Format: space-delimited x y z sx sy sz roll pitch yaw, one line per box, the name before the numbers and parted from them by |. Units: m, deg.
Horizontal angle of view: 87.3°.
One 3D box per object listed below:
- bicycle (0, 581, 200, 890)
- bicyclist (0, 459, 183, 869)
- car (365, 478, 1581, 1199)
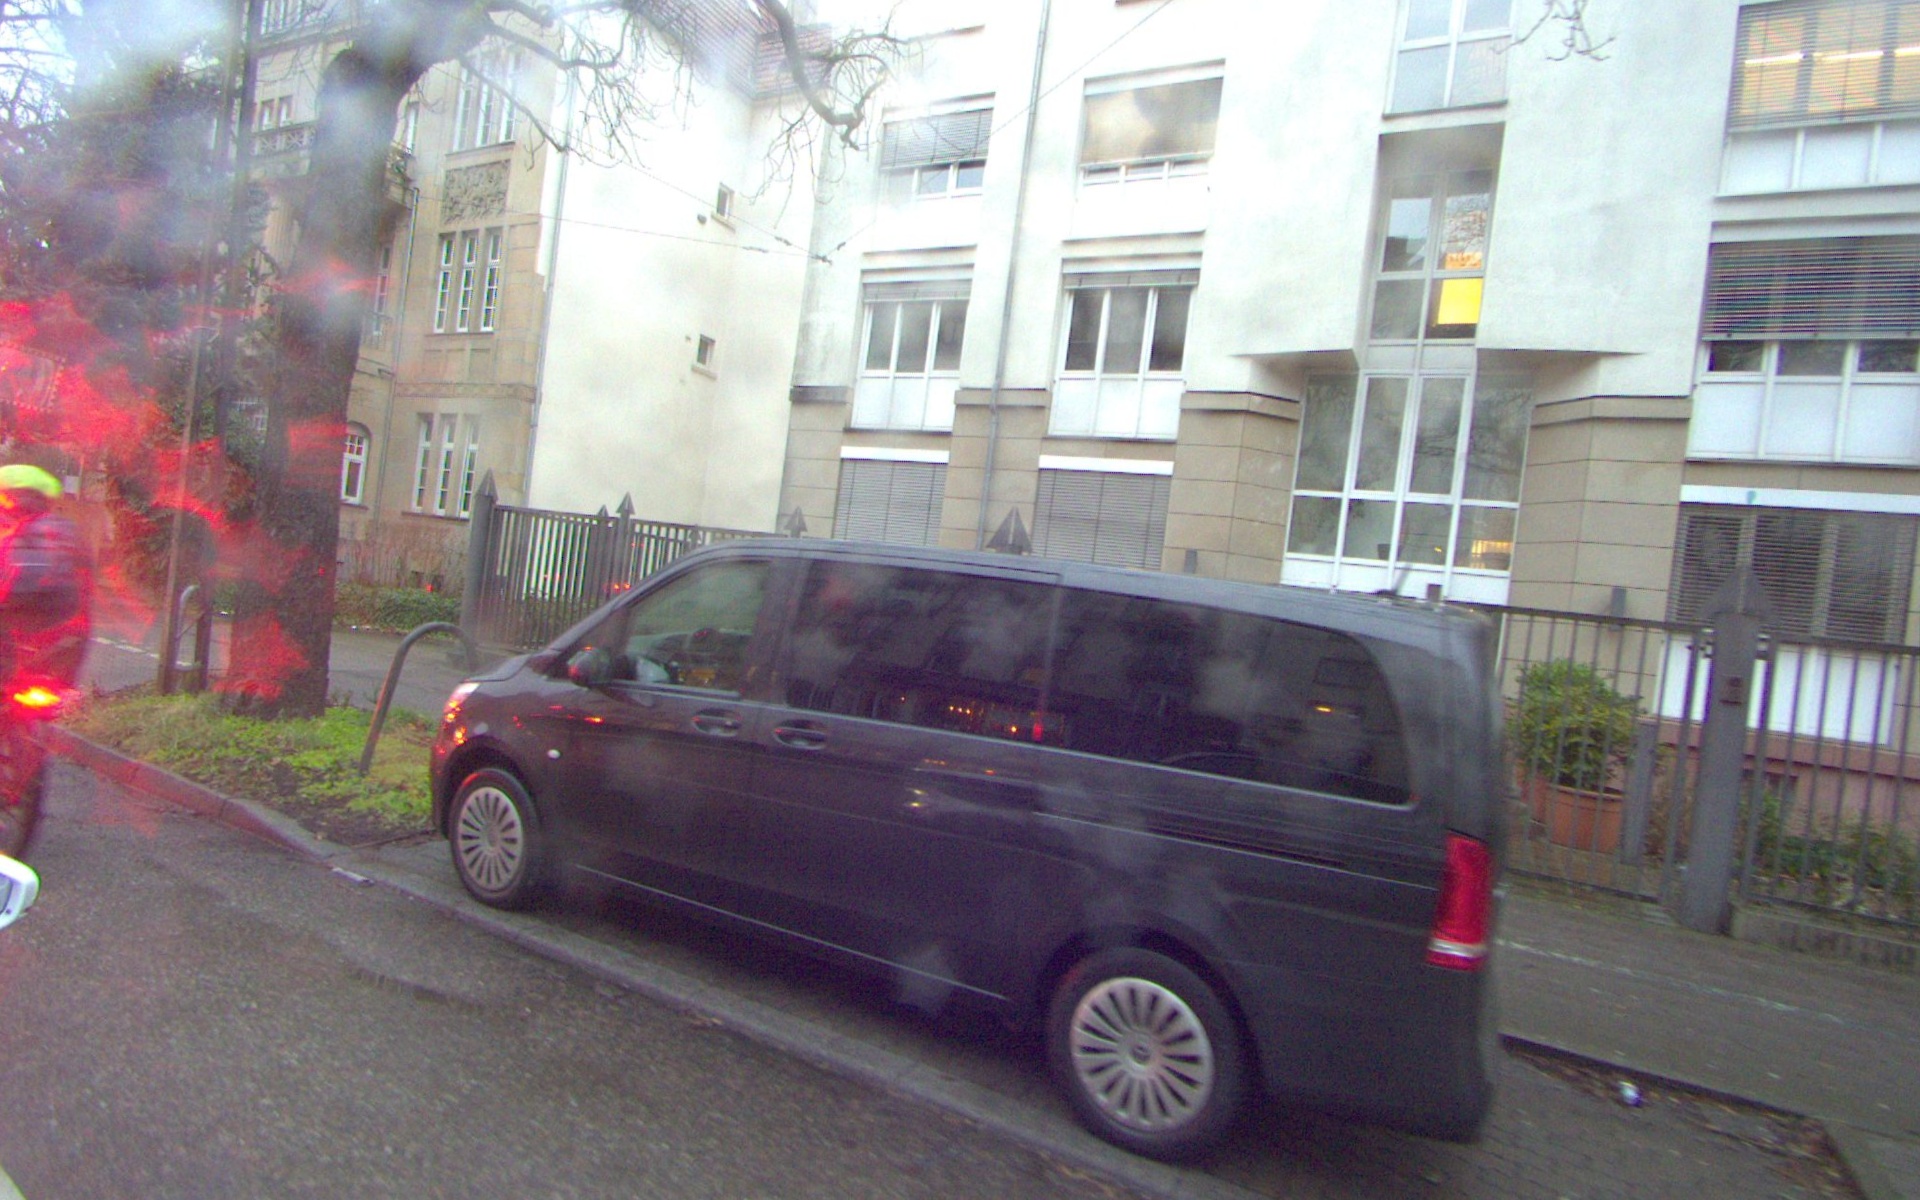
bicycle | -4.505 0.502 4.558 1.906 1.123 0.720 8 -4 24
bicyclist | -4.337 0.243 4.508 1.037 1.680 0.720 7 -3 24
car | -0.196 0.684 4.630 4.877 1.899 2.034 7 0 28
